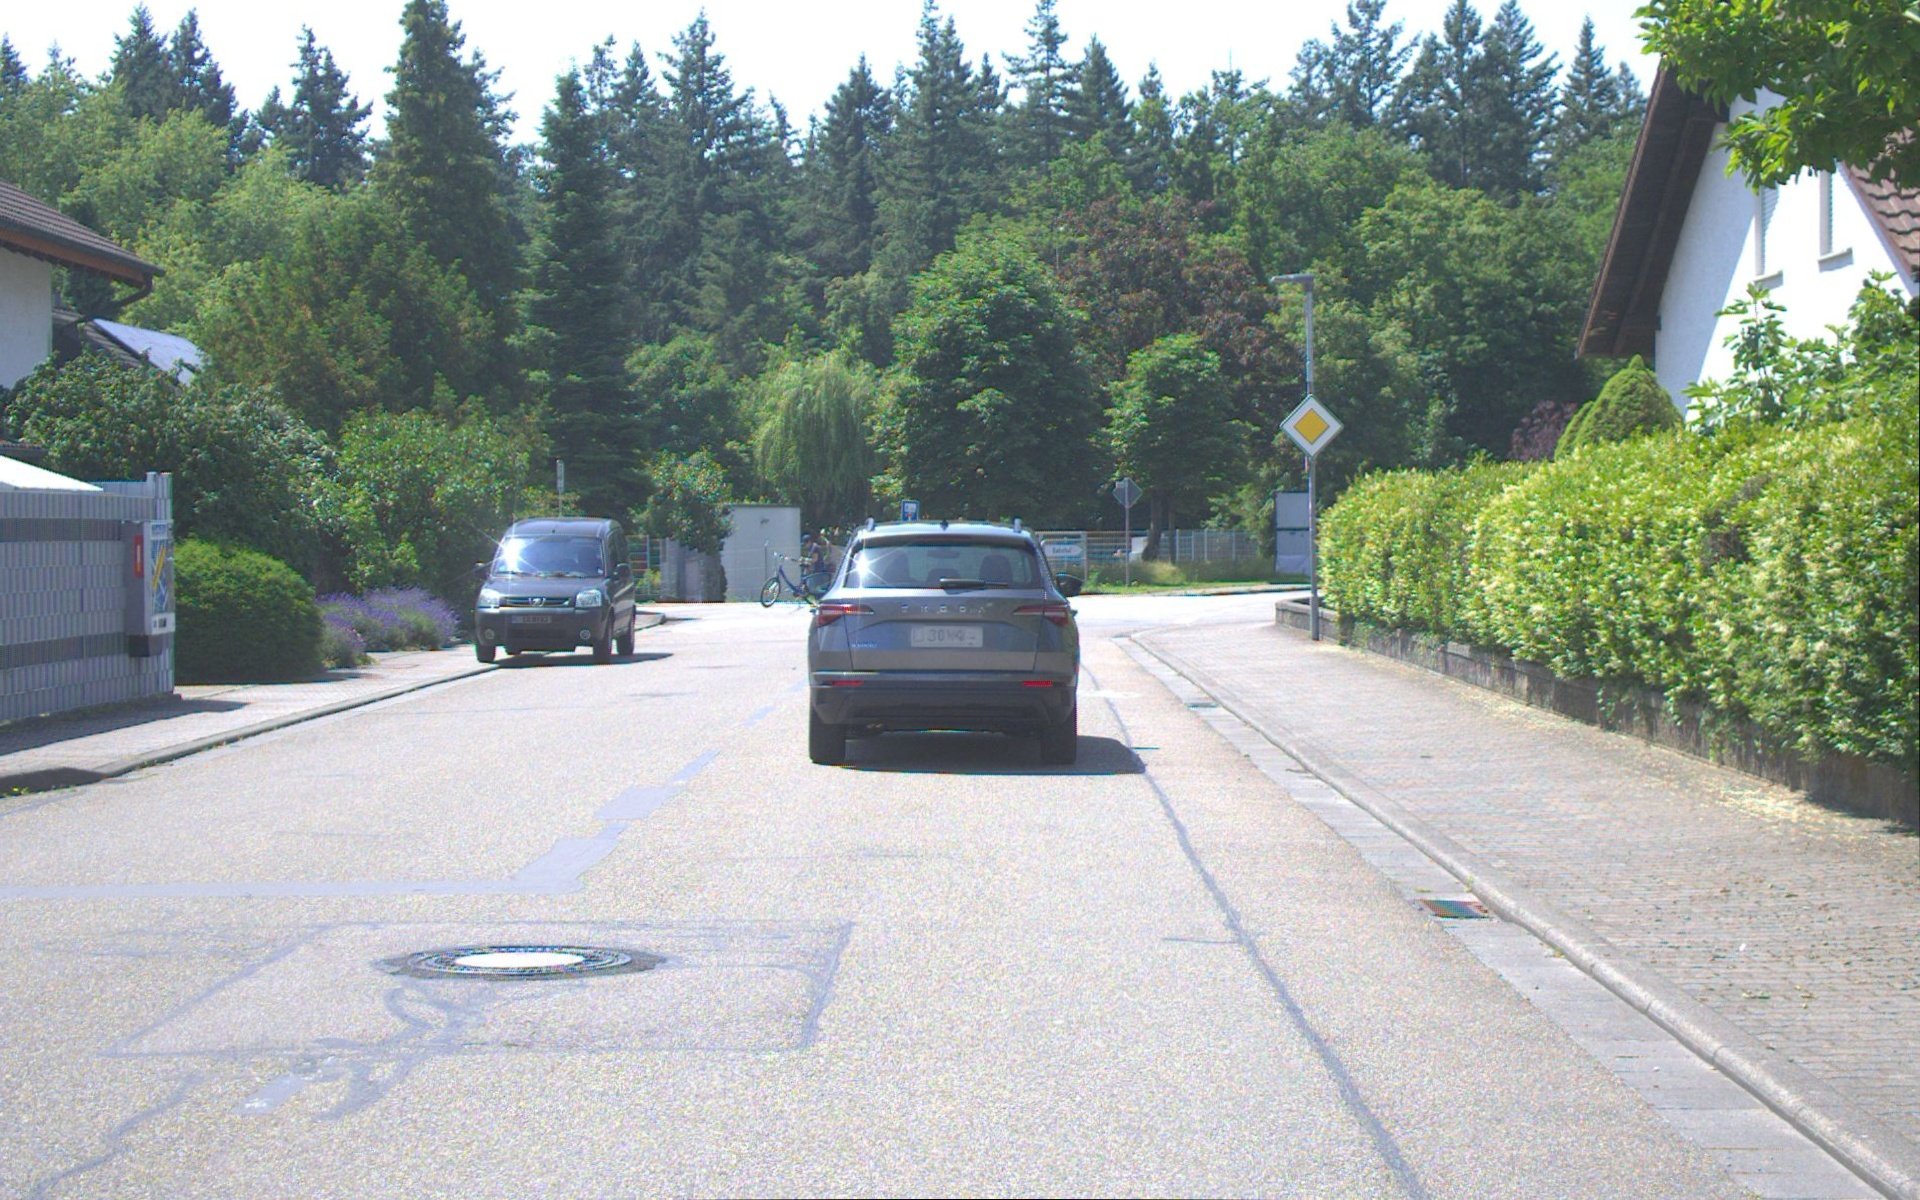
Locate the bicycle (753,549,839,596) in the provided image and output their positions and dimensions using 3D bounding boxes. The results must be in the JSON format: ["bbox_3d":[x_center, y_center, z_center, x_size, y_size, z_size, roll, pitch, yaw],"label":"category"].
[{"bbox_3d":[-3.407,-0.584,71.472,1.843,0.960,0.443,-1,1,-35],"label":"bicycle"}]

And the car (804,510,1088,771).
[{"bbox_3d":[-0.102,0.223,23.835,1.762,1.612,4.000,1,1,0],"label":"car"}]

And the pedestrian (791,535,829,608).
[{"bbox_3d":[-3.106,-0.591,71.066,0.610,1.495,0.504,0,1,-33],"label":"pedestrian"}]

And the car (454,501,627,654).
[{"bbox_3d":[-5.244,-0.307,43.423,1.718,1.839,4.055,0,1,0],"label":"car"}]
